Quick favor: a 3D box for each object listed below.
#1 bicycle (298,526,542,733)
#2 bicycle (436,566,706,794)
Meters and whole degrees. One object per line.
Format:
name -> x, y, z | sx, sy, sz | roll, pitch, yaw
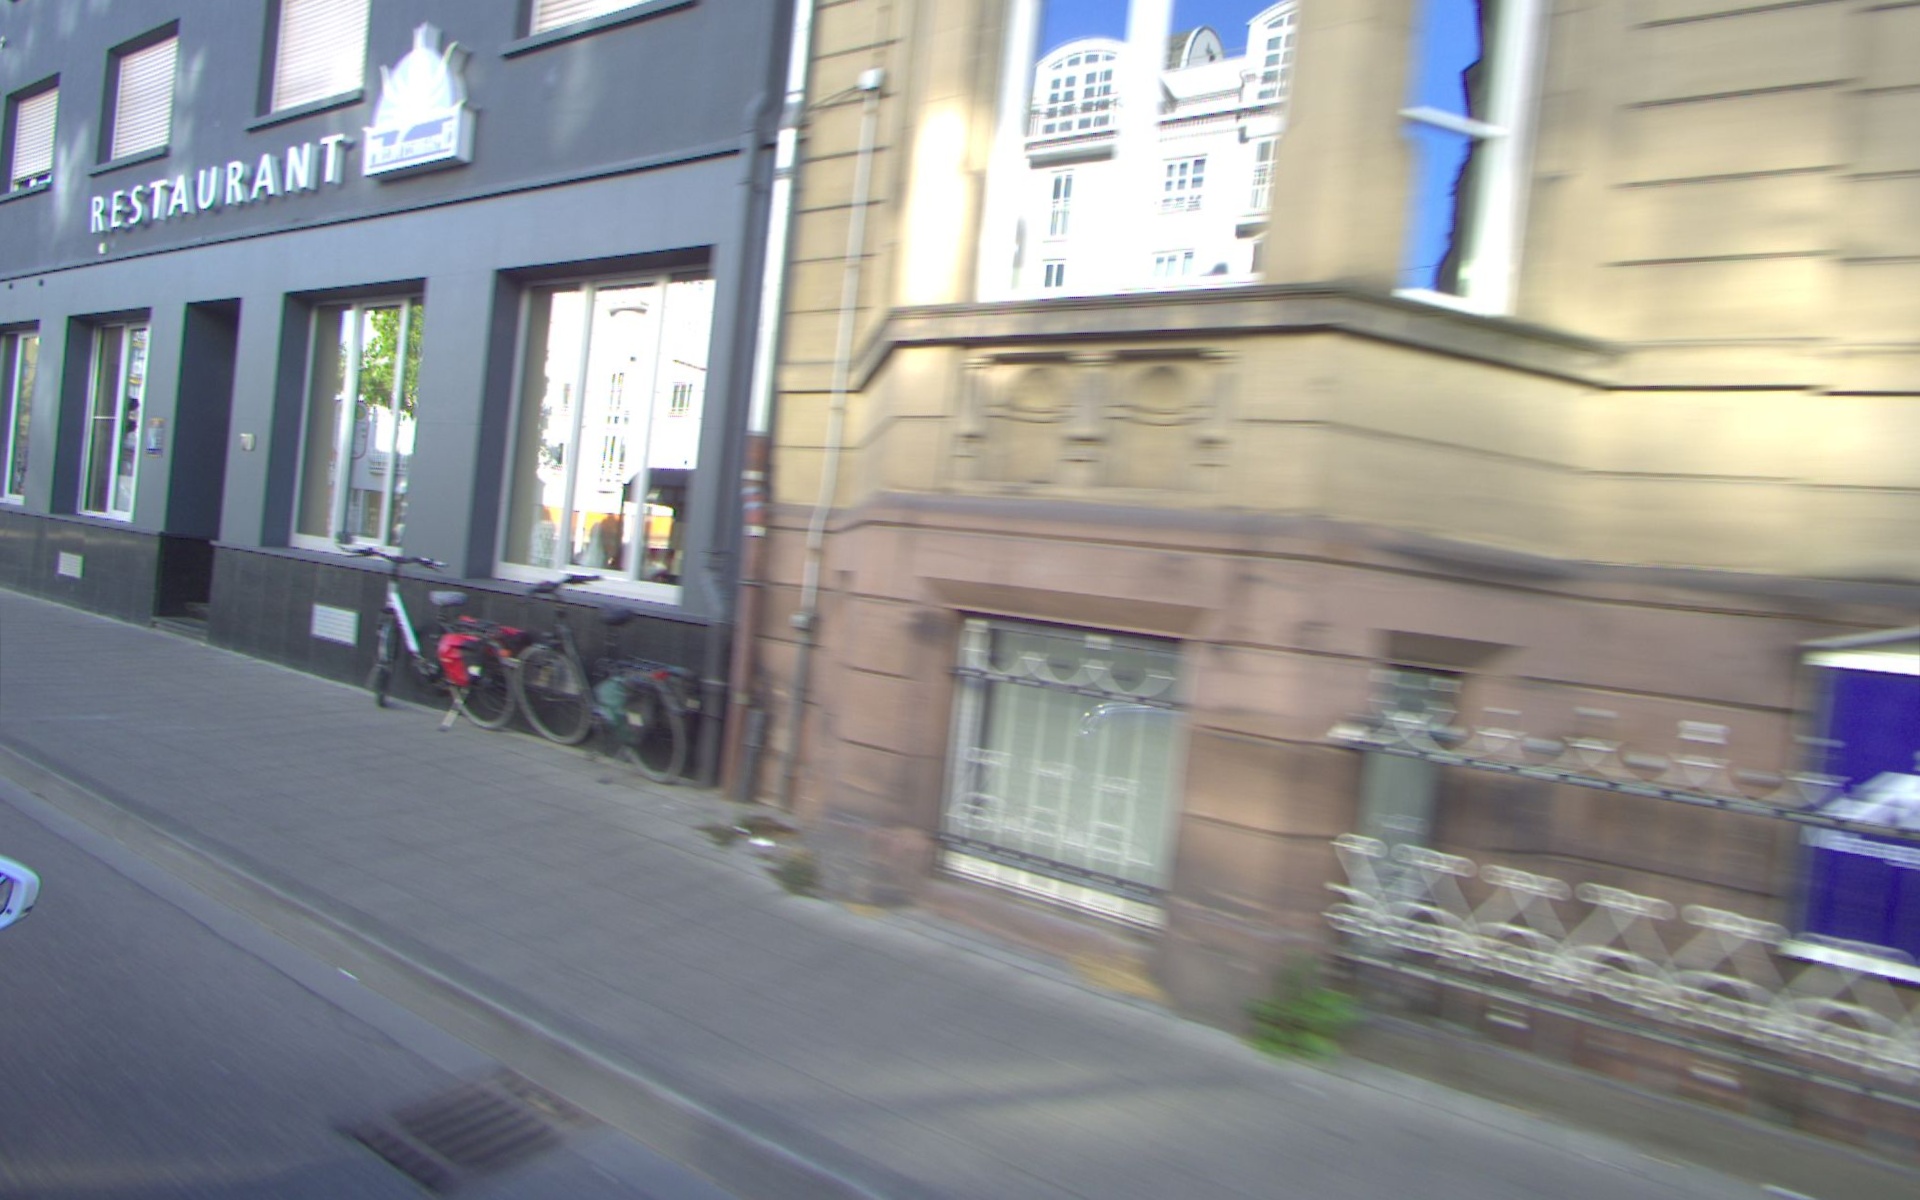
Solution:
bicycle -> -3.932, 0.165, 7.272 | 1.875, 1.215, 0.623 | 7, 4, 30
bicycle -> -2.433, 0.425, 6.196 | 1.775, 1.085, 0.590 | 8, 5, 34
